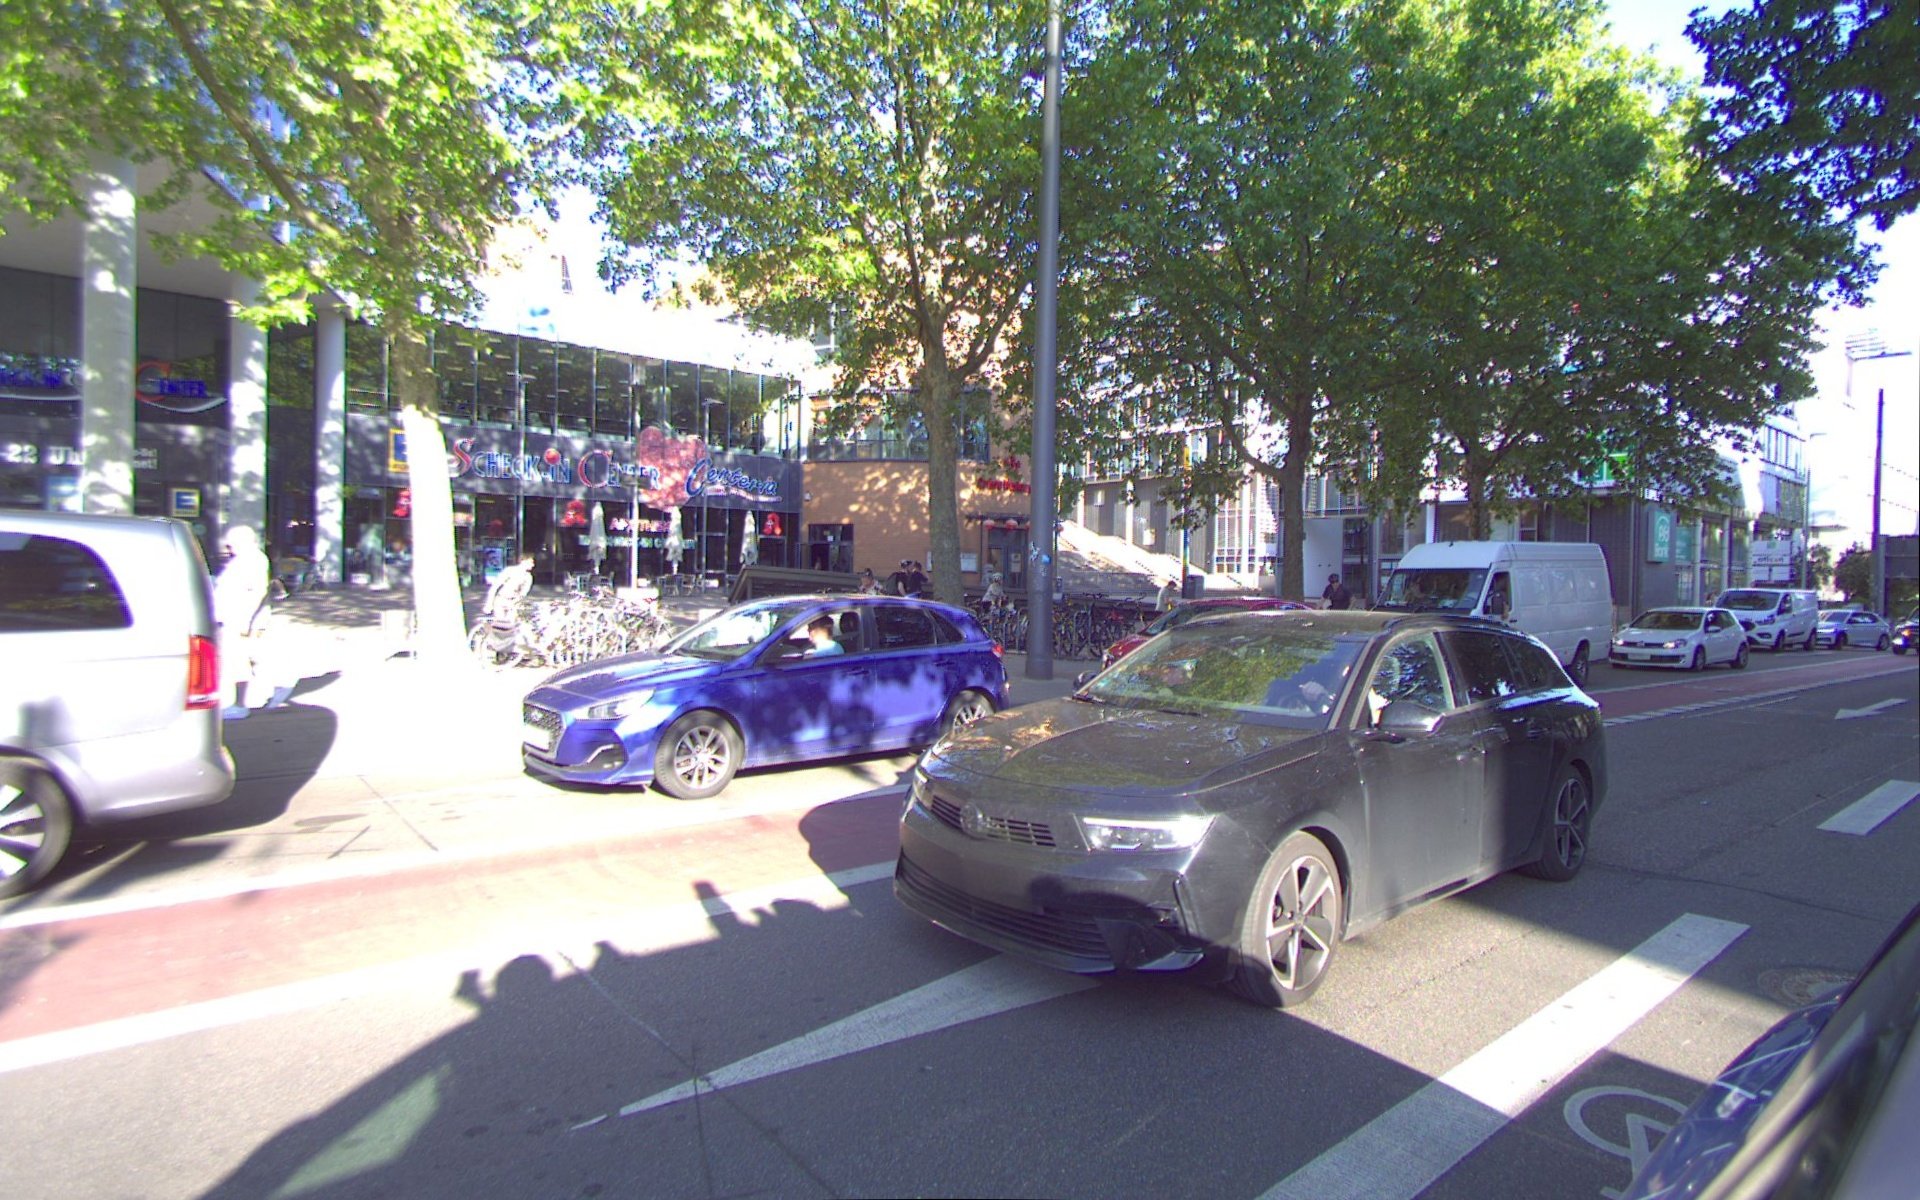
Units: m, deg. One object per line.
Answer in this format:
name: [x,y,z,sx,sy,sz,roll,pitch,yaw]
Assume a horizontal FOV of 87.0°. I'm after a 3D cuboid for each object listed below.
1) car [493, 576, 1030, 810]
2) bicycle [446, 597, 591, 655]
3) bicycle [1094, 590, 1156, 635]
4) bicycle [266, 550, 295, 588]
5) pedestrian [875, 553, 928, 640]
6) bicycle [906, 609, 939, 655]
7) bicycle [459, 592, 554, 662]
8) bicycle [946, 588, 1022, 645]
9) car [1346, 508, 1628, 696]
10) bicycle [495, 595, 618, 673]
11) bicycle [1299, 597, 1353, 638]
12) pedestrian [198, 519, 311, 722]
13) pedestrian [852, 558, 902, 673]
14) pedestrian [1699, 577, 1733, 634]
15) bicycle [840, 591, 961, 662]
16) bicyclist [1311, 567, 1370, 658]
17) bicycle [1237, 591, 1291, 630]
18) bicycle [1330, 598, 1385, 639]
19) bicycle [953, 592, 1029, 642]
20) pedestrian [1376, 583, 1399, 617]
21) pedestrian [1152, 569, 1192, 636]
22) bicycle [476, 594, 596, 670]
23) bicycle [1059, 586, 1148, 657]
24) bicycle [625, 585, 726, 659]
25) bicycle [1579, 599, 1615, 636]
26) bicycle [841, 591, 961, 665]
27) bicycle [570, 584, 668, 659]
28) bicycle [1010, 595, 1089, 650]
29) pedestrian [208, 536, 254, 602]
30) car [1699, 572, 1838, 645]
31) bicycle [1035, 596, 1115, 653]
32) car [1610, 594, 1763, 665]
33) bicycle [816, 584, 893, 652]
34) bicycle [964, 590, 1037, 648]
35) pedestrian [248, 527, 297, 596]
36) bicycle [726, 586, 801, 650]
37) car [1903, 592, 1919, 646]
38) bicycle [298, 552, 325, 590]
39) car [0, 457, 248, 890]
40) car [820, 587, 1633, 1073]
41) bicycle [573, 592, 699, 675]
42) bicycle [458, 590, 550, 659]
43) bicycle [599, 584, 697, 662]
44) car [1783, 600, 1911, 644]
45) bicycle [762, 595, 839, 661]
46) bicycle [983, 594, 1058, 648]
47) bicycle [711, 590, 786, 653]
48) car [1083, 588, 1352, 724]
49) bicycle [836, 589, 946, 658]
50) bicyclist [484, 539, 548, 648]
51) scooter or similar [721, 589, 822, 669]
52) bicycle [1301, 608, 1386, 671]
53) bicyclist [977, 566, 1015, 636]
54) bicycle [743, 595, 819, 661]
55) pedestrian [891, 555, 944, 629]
car: [-1.509,0.584,8.585,4.143,1.482,1.768,0,2,-41]
bicycle: [-7.421,0.433,17.098,2.138,0.945,0.669,1,1,-13]
bicycle: [4.398,0.323,26.943,1.622,1.140,0.598,0,1,-32]
bicycle: [-21.270,-0.986,31.695,0.705,1.142,1.921,1,2,-32]
pedestrian: [-1.233,-0.081,21.190,0.756,1.779,0.820,1,1,-35]
bicycle: [-0.698,0.571,18.584,0.391,0.770,1.114,1,1,-13]
bicycle: [-6.929,0.402,15.498,1.293,1.038,0.397,1,1,-24]
bicycle: [0.518,0.337,21.648,1.662,1.174,0.479,0,1,-37]
car: [9.363,0.020,17.651,6.443,2.759,1.998,0,0,-39]
bicycle: [-5.678,0.451,14.303,1.546,1.038,0.461,0,2,-43]
bicycle: [10.065,0.469,27.788,1.624,1.060,0.597,0,1,-37]
pedestrian: [-6.717,0.168,9.630,0.794,1.808,0.873,0,1,-41]
pedestrian: [-1.338,0.235,16.245,0.644,1.808,0.810,1,1,-14]
pedestrian: [27.390,0.195,36.656,0.652,2.039,0.809,0,0,-34]
bicycle: [-0.986,0.437,16.708,1.908,1.130,0.598,1,1,-12]
bicyclist: [7.313,0.223,19.457,0.701,1.709,0.752,1,1,-37]
bicycle: [8.554,0.296,28.495,1.624,1.060,0.597,0,1,-37]
bicycle: [10.664,0.482,27.141,1.624,1.060,0.597,0,1,-37]
bicycle: [0.730,0.405,24.079,1.743,1.140,0.568,1,1,-4]
pedestrian: [18.938,0.001,44.812,0.589,1.474,0.713,1,1,-37]
pedestrian: [5.378,0.060,25.716,0.623,1.651,0.719,1,1,-34]
bicycle: [-6.148,0.439,14.719,1.546,1.038,0.461,0,2,-43]
bicycle: [2.741,0.388,19.246,1.843,1.280,0.596,0,1,-41]
bicycle: [-4.389,0.318,15.666,1.451,1.095,0.421,0,1,-42]
bicycle: [20.619,0.555,32.747,1.511,1.173,0.514,0,1,-39]
bicycle: [-0.940,0.439,15.986,1.788,1.130,0.598,1,1,-13]
bicycle: [-5.556,0.340,16.525,1.450,1.174,0.421,0,1,-40]
bicycle: [1.801,0.433,20.256,1.626,1.044,0.596,0,2,-41]
pedestrian: [-18.868,-0.807,26.190,0.851,1.661,0.966,0,1,-44]
car: [26.267,0.245,32.828,5.189,2.160,2.130,0,2,-35]
bicycle: [2.249,0.457,19.734,1.626,1.044,0.596,0,2,-41]
car: [16.981,0.646,23.611,3.794,1.482,1.673,0,2,-34]
bicycle: [-1.901,0.310,18.413,0.478,1.174,1.455,2,1,41]
bicycle: [0.860,0.382,21.242,1.626,1.151,0.503,0,1,-41]
pedestrian: [-19.306,-1.076,28.443,0.834,1.866,1.002,1,1,-15]
bicycle: [-3.745,0.324,19.402,0.420,1.174,1.455,2,1,41]
car: [31.332,0.618,31.654,3.943,1.658,1.788,0,2,-33]
bicycle: [-20.617,-0.930,32.194,0.705,1.142,1.921,1,2,-32]
car: [-6.263,0.337,4.386,5.047,1.991,1.997,0,0,-41]
car: [1.601,0.677,5.087,4.268,1.443,1.826,0,0,-40]
bicycle: [-4.478,0.439,14.022,1.542,1.070,0.630,0,1,-35]
bicycle: [-7.160,0.382,15.931,1.293,1.038,0.397,1,1,-24]
bicycle: [-4.964,0.348,16.144,1.451,1.174,0.421,0,1,-42]
car: [31.597,0.770,36.047,3.937,1.437,1.791,1,1,-22]
bicycle: [-2.937,0.497,18.727,0.420,1.174,1.455,2,1,41]
bicycle: [1.253,0.414,20.801,1.626,1.044,0.503,0,1,-41]
bicycle: [-4.116,0.407,19.770,0.420,1.174,1.455,2,1,41]
car: [3.340,0.597,12.814,3.558,1.482,1.561,0,1,-41]
bicycle: [-1.196,0.401,17.387,1.788,1.130,0.598,1,1,-13]
bicyclist: [-7.483,-0.115,17.092,0.834,1.789,0.754,1,1,-12]
scooter or similar: [-2.923,0.439,15.712,1.249,1.156,0.905,-2,0,37]
bicycle: [7.438,0.729,19.578,2.089,1.135,0.551,0,2,-40]
bicyclist: [0.848,0.015,24.081,0.805,1.636,0.564,1,1,-4]
bicycle: [-3.343,0.508,19.012,0.420,1.174,1.455,2,1,41]
pedestrian: [-1.051,-0.205,25.037,1.000,1.779,0.789,0,1,-35]
